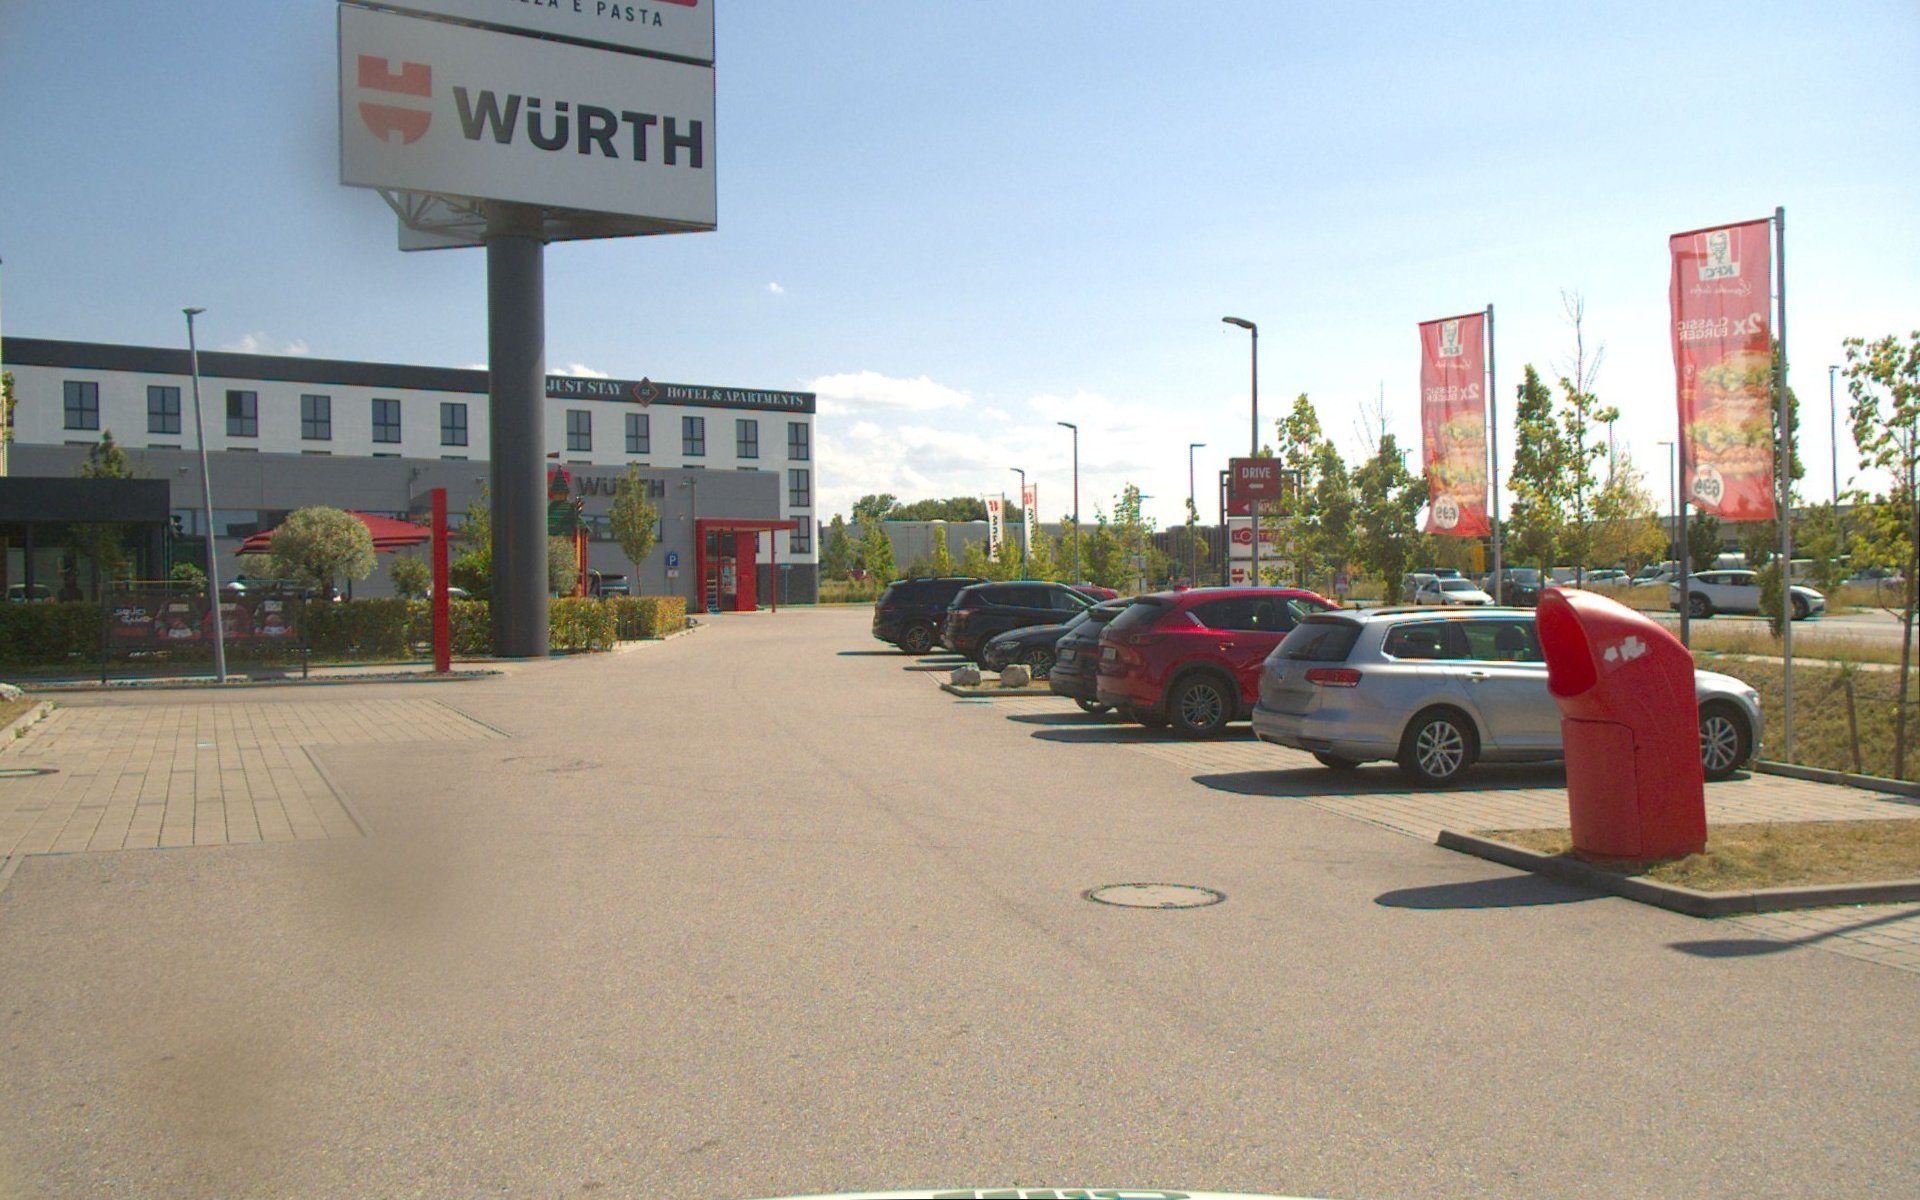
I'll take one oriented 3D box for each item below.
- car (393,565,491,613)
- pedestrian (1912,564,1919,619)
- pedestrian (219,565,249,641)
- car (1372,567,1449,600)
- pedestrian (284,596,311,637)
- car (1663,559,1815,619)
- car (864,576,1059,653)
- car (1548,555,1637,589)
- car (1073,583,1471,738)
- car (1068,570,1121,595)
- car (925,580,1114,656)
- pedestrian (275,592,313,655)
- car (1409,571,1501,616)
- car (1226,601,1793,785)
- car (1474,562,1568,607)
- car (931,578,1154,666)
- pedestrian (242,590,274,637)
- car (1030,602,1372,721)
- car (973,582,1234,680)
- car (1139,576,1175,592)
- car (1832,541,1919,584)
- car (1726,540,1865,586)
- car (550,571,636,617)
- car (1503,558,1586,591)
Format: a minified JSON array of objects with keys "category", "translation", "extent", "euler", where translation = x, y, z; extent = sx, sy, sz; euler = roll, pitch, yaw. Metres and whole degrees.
[{"category":"car","translation":[-17.889,-0.393,57.037],"extent":[1.933,1.557,4.320],"euler":[-1,1,-36]},{"category":"pedestrian","translation":[28.247,-0.245,48.203],"extent":[0.611,1.583,0.667],"euler":[-1,1,0]},{"category":"pedestrian","translation":[-14.987,0.054,34.139],"extent":[0.518,1.531,0.564],"euler":[-1,1,-28]},{"category":"car","translation":[21.410,-0.815,78.751],"extent":[1.955,1.530,4.651],"euler":[-1,1,-6]},{"category":"pedestrian","translation":[-17.941,0.443,44.784],"extent":[0.566,1.108,0.543],"euler":[-1,1,-9]},{"category":"car","translation":[25.483,-0.384,54.151],"extent":[4.314,1.878,1.995],"euler":[0,1,33]},{"category":"car","translation":[-0.003,0.316,39.730],"extent":[4.489,1.791,1.892],"euler":[0,0,-8]},{"category":"car","translation":[39.334,-1.758,102.847],"extent":[4.978,2.048,1.992],"euler":[-1,1,-16]},{"category":"car","translation":[3.572,0.634,19.224],"extent":[4.145,1.666,1.944],"euler":[0,0,-13]},{"category":"car","translation":[9.451,-1.252,116.367],"extent":[1.964,1.763,4.733],"euler":[-1,1,-19]},{"category":"car","translation":[1.298,0.376,37.095],"extent":[3.992,1.637,1.892],"euler":[0,1,-9]},{"category":"pedestrian","translation":[-15.090,0.529,37.486],"extent":[0.473,1.390,0.647],"euler":[0,1,39]},{"category":"car","translation":[18.378,-0.280,61.625],"extent":[1.953,1.553,4.657],"euler":[-1,1,-1]},{"category":"car","translation":[4.759,0.738,14.494],"extent":[4.507,1.437,1.734],"euler":[0,0,-13]},{"category":"car","translation":[21.975,-0.627,65.008],"extent":[1.836,1.693,4.599],"euler":[-1,1,-5]},{"category":"car","translation":[1.671,0.427,33.990],"extent":[4.244,1.732,1.889],"euler":[0,0,-13]},{"category":"pedestrian","translation":[-18.440,0.348,43.455],"extent":[0.696,1.219,0.613],"euler":[-1,1,-17]},{"category":"car","translation":[3.146,0.762,21.765],"extent":[4.124,1.435,1.766],"euler":[0,0,-16]},{"category":"car","translation":[2.495,0.511,29.334],"extent":[4.351,1.666,1.893],"euler":[0,0,-6]},{"category":"car","translation":[22.779,-1.867,191.298],"extent":[3.909,1.687,1.885],"euler":[-1,1,-33]},{"category":"car","translation":[45.814,-1.877,81.540],"extent":[5.078,2.048,1.992],"euler":[-1,1,-16]},{"category":"car","translation":[43.726,-1.953,86.592],"extent":[6.181,2.276,2.808],"euler":[-1,1,-13]},{"category":"car","translation":[-15.817,-0.286,71.109],"extent":[2.052,1.913,4.823],"euler":[-1,1,-33]},{"category":"car","translation":[38.317,-1.689,108.433],"extent":[4.978,2.048,1.992],"euler":[-1,1,-16]}]
